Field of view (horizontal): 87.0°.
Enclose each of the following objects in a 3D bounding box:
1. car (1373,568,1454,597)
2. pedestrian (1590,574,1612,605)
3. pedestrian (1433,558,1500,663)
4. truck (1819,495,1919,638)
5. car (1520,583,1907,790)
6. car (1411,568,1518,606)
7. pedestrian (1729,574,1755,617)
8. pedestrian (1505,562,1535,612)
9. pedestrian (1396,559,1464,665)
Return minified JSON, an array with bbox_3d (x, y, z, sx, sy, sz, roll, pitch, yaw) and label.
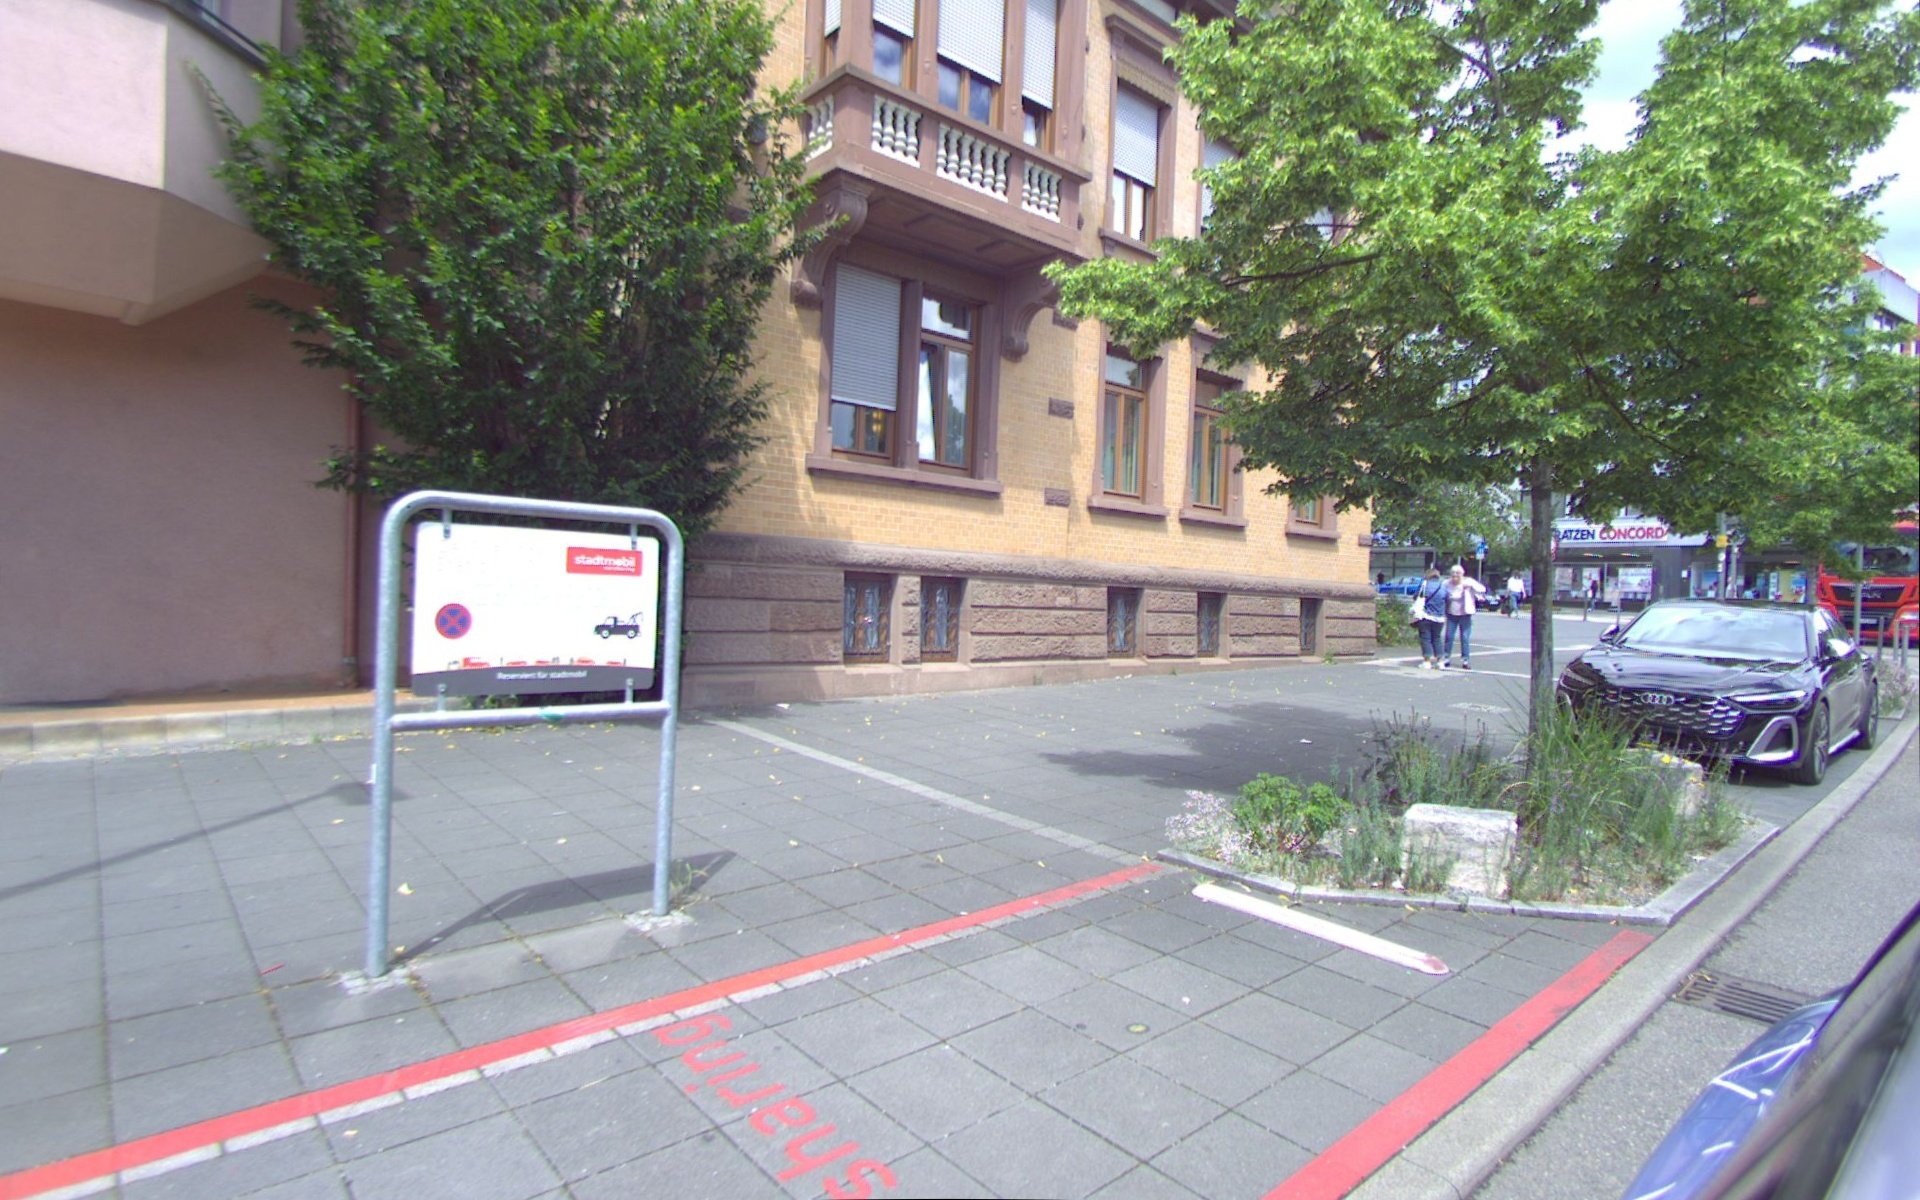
[{"bbox_3d":[25.422,-0.983,56.874,1.783,1.582,3.835,-1,1,-31],"label":"car"},{"bbox_3d":[32.896,-0.547,51.911,0.751,1.603,0.686,0,1,-32],"label":"pedestrian"},{"bbox_3d":[8.314,0.159,16.614,0.725,1.679,0.699,0,1,-30],"label":"pedestrian"},{"bbox_3d":[30.141,-0.993,31.208,10.638,3.890,2.684,-1,1,-33],"label":"truck"},{"bbox_3d":[7.294,0.613,9.601,4.654,1.431,1.997,0,2,-41],"label":"car"},{"bbox_3d":[23.247,-0.582,46.742,1.962,1.672,4.000,1,0,-35],"label":"car"},{"bbox_3d":[35.533,-0.209,45.981,0.751,1.937,0.686,0,1,-32],"label":"pedestrian"},{"bbox_3d":[19.879,-0.476,35.920,0.756,1.753,0.749,0,1,17],"label":"pedestrian"},{"bbox_3d":[7.557,0.172,16.292,0.661,1.660,0.742,0,1,-16],"label":"pedestrian"}]
